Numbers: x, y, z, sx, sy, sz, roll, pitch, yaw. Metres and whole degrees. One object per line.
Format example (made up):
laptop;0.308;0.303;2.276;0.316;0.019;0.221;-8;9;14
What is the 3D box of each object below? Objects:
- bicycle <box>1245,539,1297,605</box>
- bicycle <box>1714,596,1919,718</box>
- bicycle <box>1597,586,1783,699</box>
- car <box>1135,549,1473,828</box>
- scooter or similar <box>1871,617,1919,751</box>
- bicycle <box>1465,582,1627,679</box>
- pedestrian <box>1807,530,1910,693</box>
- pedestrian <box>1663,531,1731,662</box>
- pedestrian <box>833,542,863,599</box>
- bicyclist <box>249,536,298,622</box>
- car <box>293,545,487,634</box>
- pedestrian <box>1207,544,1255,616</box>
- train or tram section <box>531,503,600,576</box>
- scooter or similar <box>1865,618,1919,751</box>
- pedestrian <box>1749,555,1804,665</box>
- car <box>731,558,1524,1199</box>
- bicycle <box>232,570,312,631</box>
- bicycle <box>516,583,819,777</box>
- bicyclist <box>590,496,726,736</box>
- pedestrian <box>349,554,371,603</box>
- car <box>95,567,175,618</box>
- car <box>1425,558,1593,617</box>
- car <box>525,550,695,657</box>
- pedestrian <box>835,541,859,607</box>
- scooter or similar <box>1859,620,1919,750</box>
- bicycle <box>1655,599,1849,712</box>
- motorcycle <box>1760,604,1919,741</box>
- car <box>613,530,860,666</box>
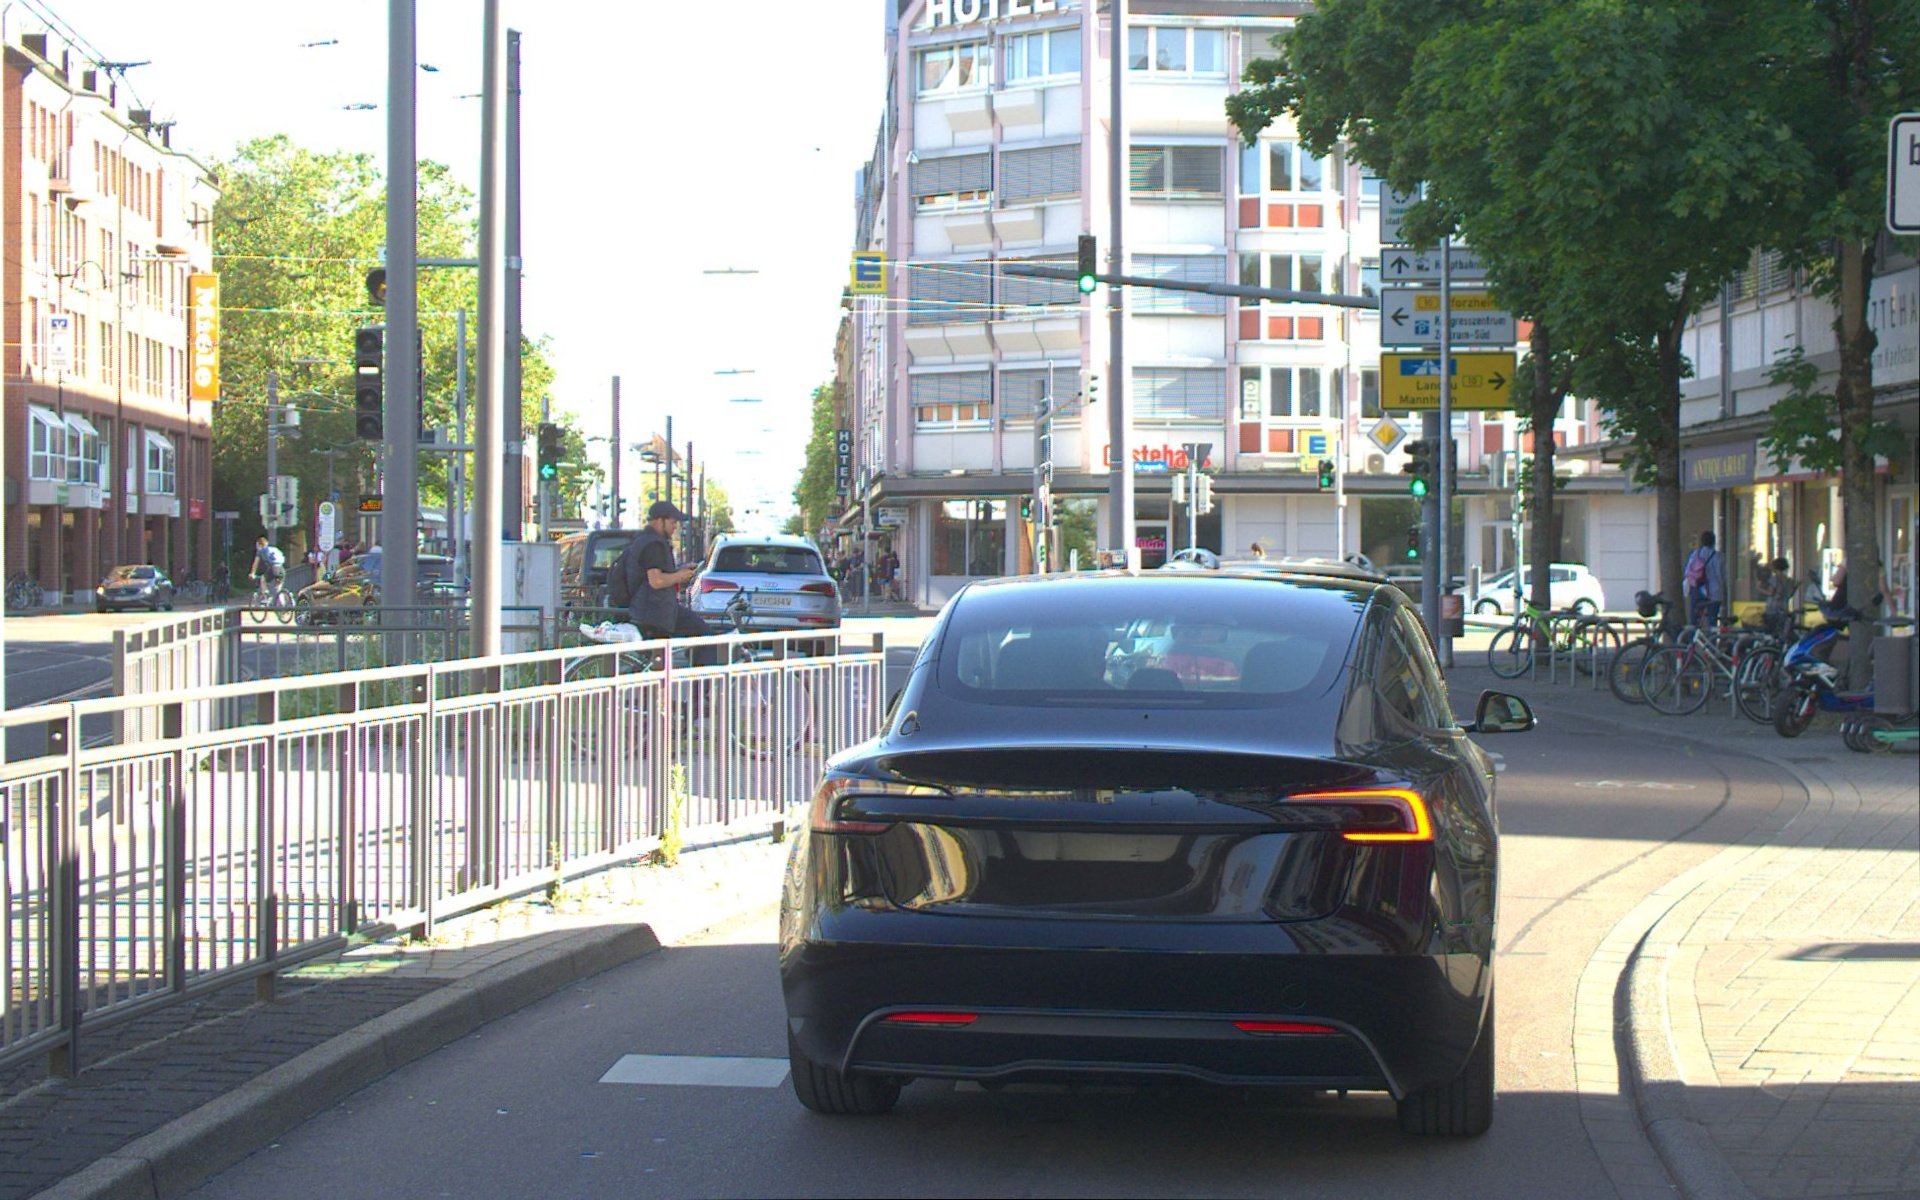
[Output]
bicycle;6.961;-0.634;77.015;0.582;1.458;1.686;0;1;-16
bicycle;7.795;0.513;31.177;1.849;1.052;0.399;-1;1;-11
bicycle;7.479;0.429;35.239;1.809;1.147;0.435;0;0;-4
car;1.940;0.433;20.507;1.765;1.439;4.528;1;1;3
scooter or similar;7.607;0.652;26.808;0.964;1.039;0.160;0;1;3
bicycle;7.202;0.370;42.291;1.890;1.152;0.480;-1;0;0
pedestrian;9.554;0.120;36.580;0.843;1.701;0.880;1;0;-1
pedestrian;9.759;-0.047;45.540;0.843;1.715;0.879;1;0;12
pedestrian;-3.497;-0.914;107.076;0.914;1.748;0.839;1;0;-2
bicyclist;-14.209;-0.445;71.153;0.612;1.765;0.830;1;0;-44
car;-10.259;-0.203;61.764;3.471;1.546;1.726;1;0;45
pedestrian;6.049;-0.456;76.726;0.779;1.571;0.868;1;2;-16
train or tram section;-19.999;-3.030;174.691;2.729;3.530;10.087;1;0;-3
scooter or similar;7.613;0.663;27.006;0.956;1.035;0.160;0;1;3
pedestrian;10.648;0.126;44.851;0.645;1.417;0.621;1;0;11
car;0.592;0.638;9.802;1.791;1.446;3.939;1;1;7
bicycle;-14.258;0.010;71.192;0.627;1.219;2.040;1;0;-44
bicycle;-1.883;0.508;22.149;1.819;1.207;0.642;1;0;-23
bicyclist;-1.946;0.100;22.120;0.681;1.518;0.635;1;0;-24
pedestrian;-19.045;-0.685;109.053;0.583;1.525;0.638;1;0;-18
car;-24.925;-0.241;103.988;1.817;1.449;3.978;-1;1;-6
car;13.756;-0.306;86.255;3.840;1.427;1.804;0;-1;-5
car;-5.563;0.035;54.239;1.572;1.612;3.784;1;0;-23
pedestrian;-3.115;-0.715;94.655;0.626;1.776;0.918;1;0;-2
scooter or similar;7.618;0.671;27.207;0.964;1.023;0.160;0;1;3
bicycle;7.646;0.530;33.241;1.767;1.053;0.458;1;0;5
motorcycle;7.737;0.611;29.103;1.787;1.126;0.504;1;0;-3
car;-2.848;-0.039;43.103;1.839;1.629;3.486;1;0;-27
